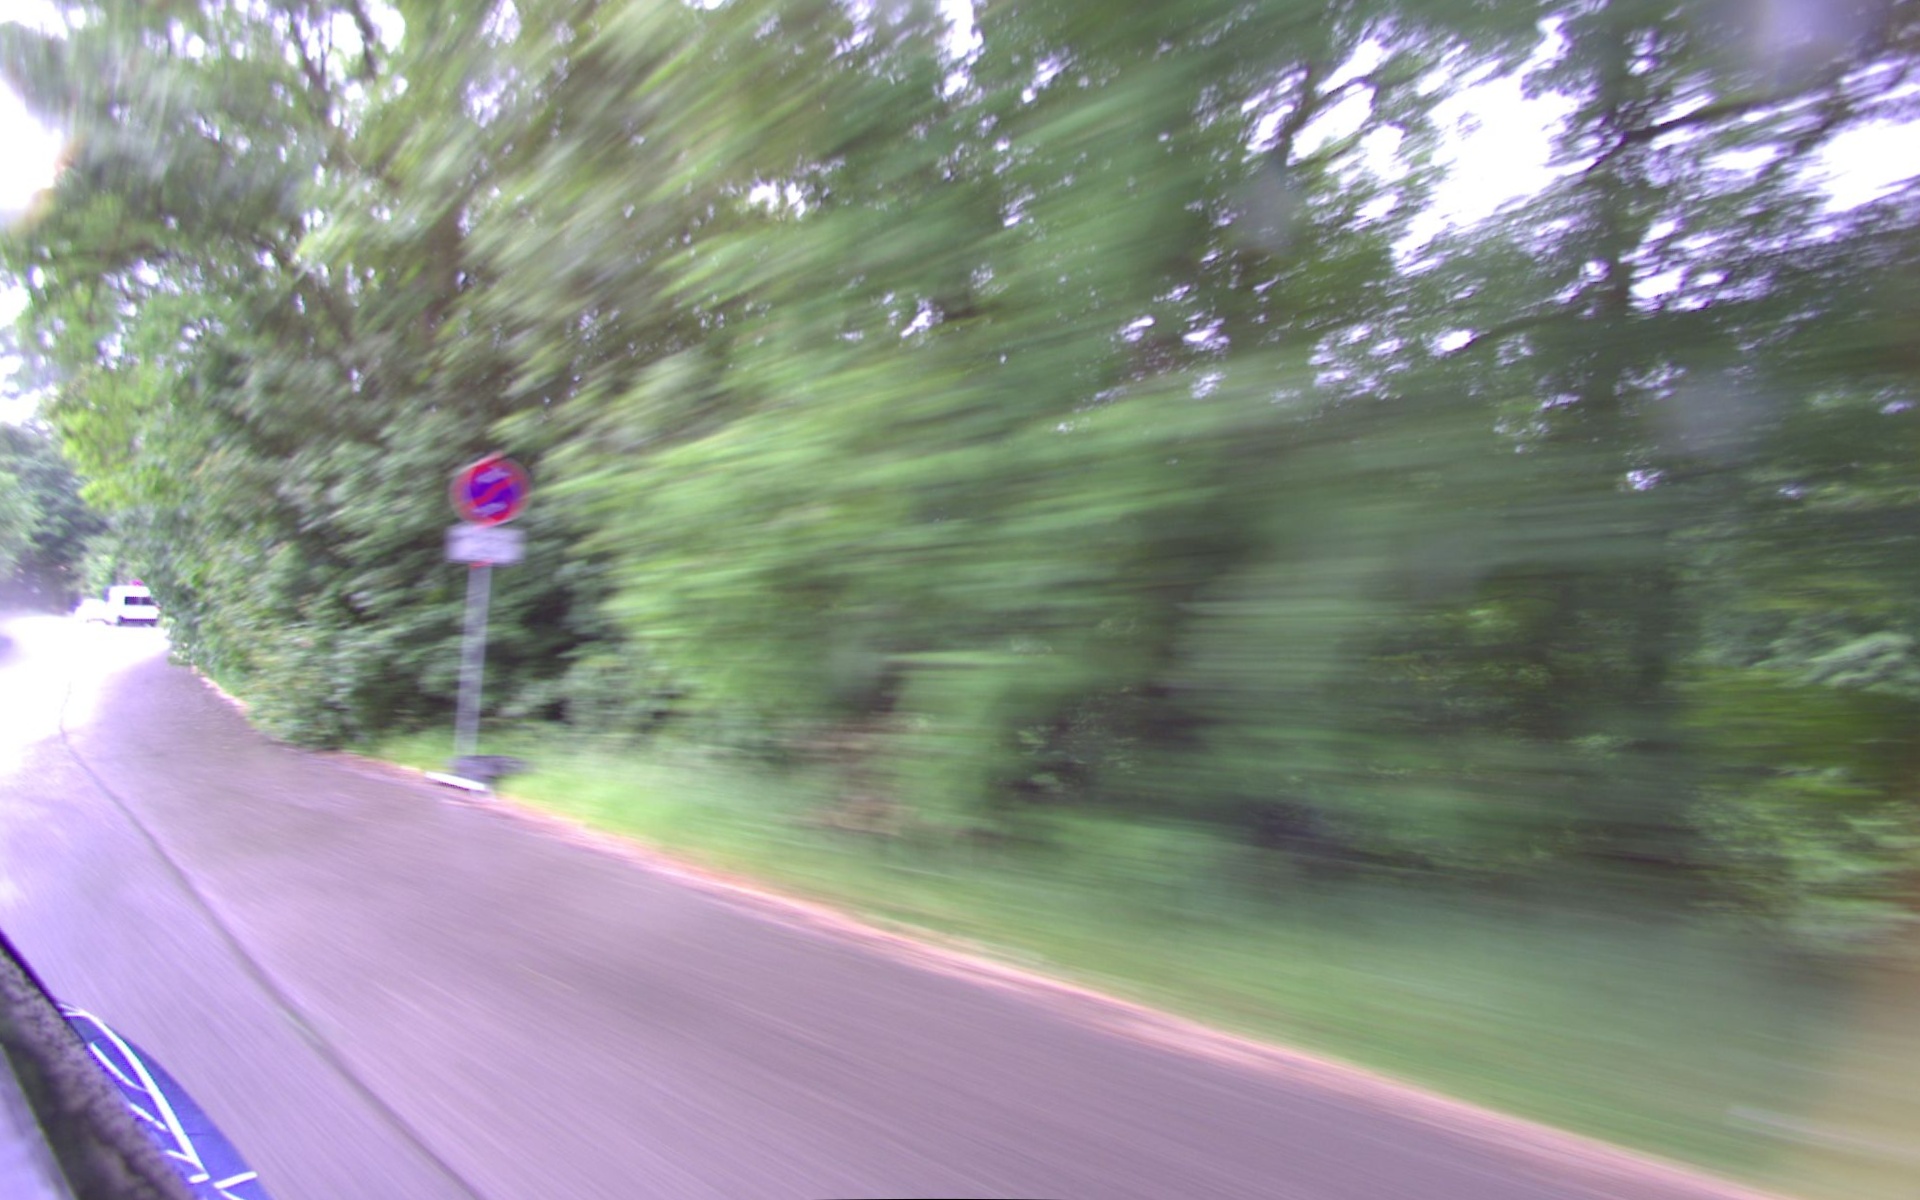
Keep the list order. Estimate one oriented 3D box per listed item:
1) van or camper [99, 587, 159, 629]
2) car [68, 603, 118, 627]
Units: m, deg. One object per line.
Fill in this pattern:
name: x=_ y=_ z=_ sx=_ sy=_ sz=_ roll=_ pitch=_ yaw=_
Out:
van or camper: x=-53.023 y=0.526 z=64.566 sx=4.836 sy=2.535 sz=2.172 roll=0 pitch=-3 yaw=43
car: x=-60.921 y=1.032 z=71.078 sx=4.557 sy=1.592 sz=2.075 roll=0 pitch=-3 yaw=43
